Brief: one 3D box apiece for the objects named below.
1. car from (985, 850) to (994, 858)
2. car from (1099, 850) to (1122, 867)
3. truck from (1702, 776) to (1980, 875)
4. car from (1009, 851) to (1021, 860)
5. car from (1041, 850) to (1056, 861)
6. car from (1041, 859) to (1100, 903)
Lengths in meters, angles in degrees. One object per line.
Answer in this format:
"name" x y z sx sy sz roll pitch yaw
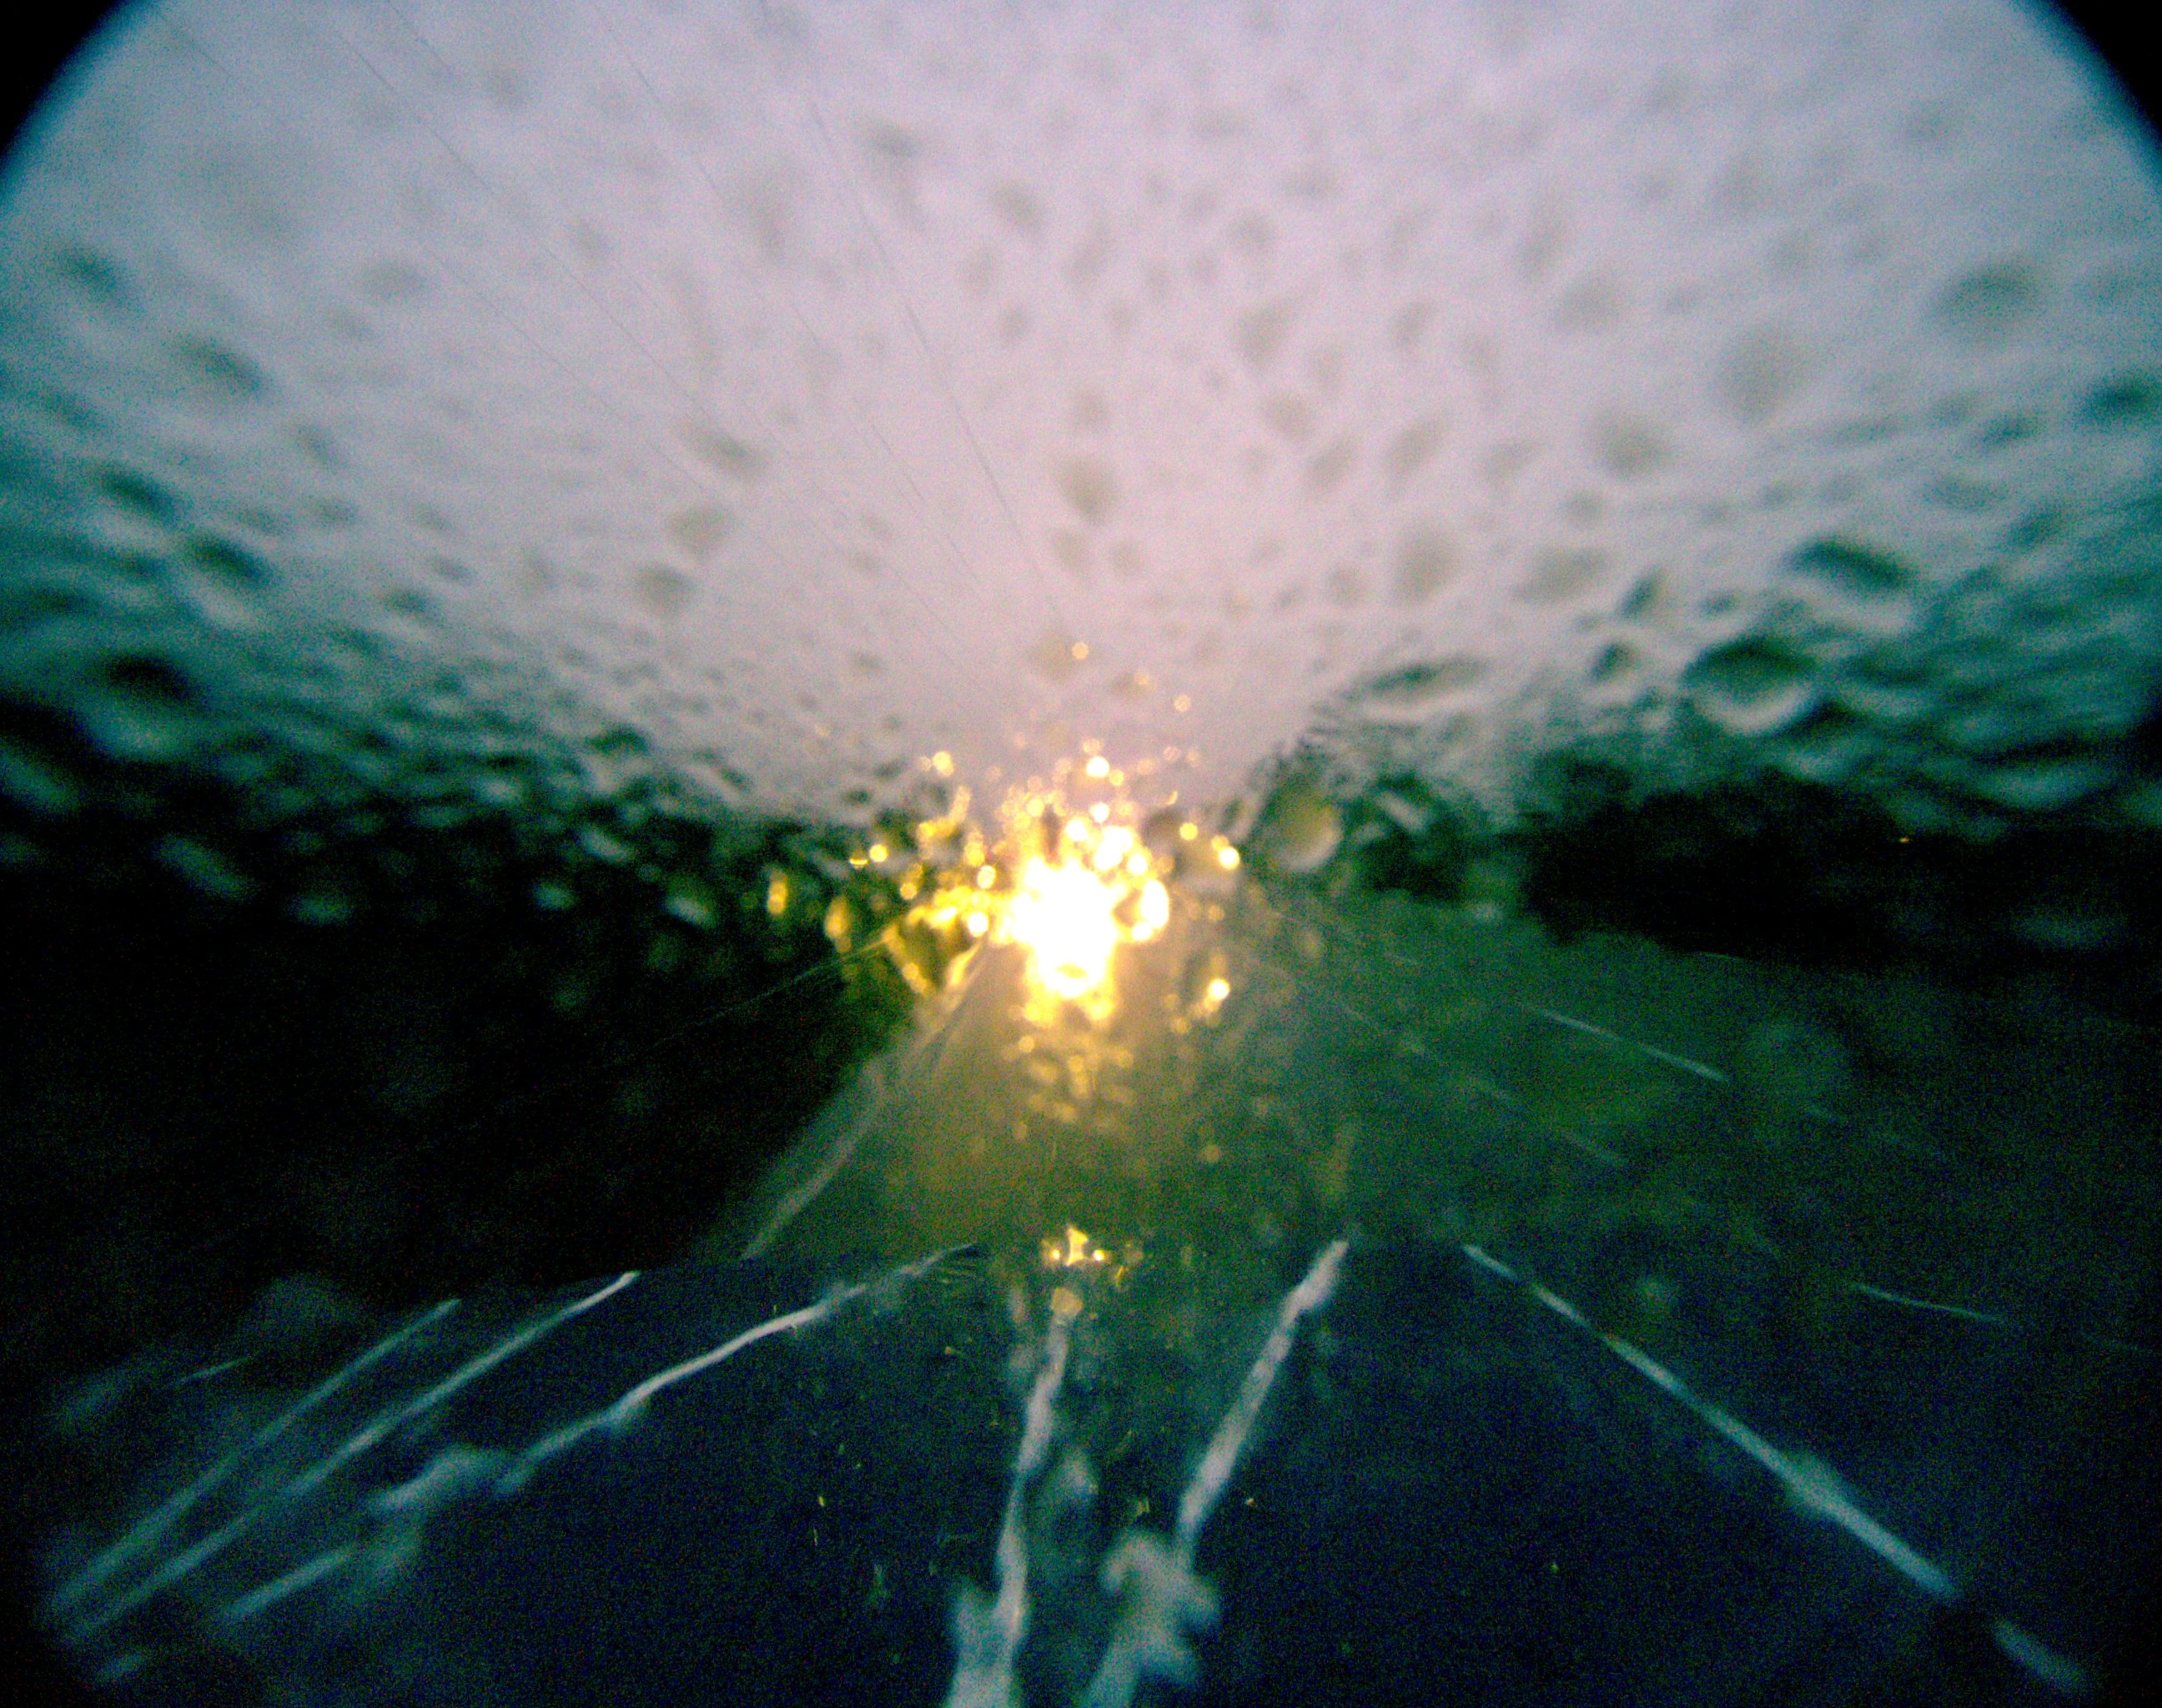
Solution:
"car" -20.179 -0.083 167.819 1.641 1.464 4.445 0 3 -4
"car" 2.773 0.402 72.584 1.869 1.492 4.520 -1 1 -2
"truck" 40.924 -1.530 42.226 3.281 4.585 13.880 0 2 9
"car" -12.380 0.192 142.239 1.894 1.580 4.378 -2 1 -8
"car" -4.940 0.179 113.925 1.999 1.481 4.379 -2 1 -6
"car" -0.474 0.994 29.411 1.887 1.513 3.998 -2 0 -5
